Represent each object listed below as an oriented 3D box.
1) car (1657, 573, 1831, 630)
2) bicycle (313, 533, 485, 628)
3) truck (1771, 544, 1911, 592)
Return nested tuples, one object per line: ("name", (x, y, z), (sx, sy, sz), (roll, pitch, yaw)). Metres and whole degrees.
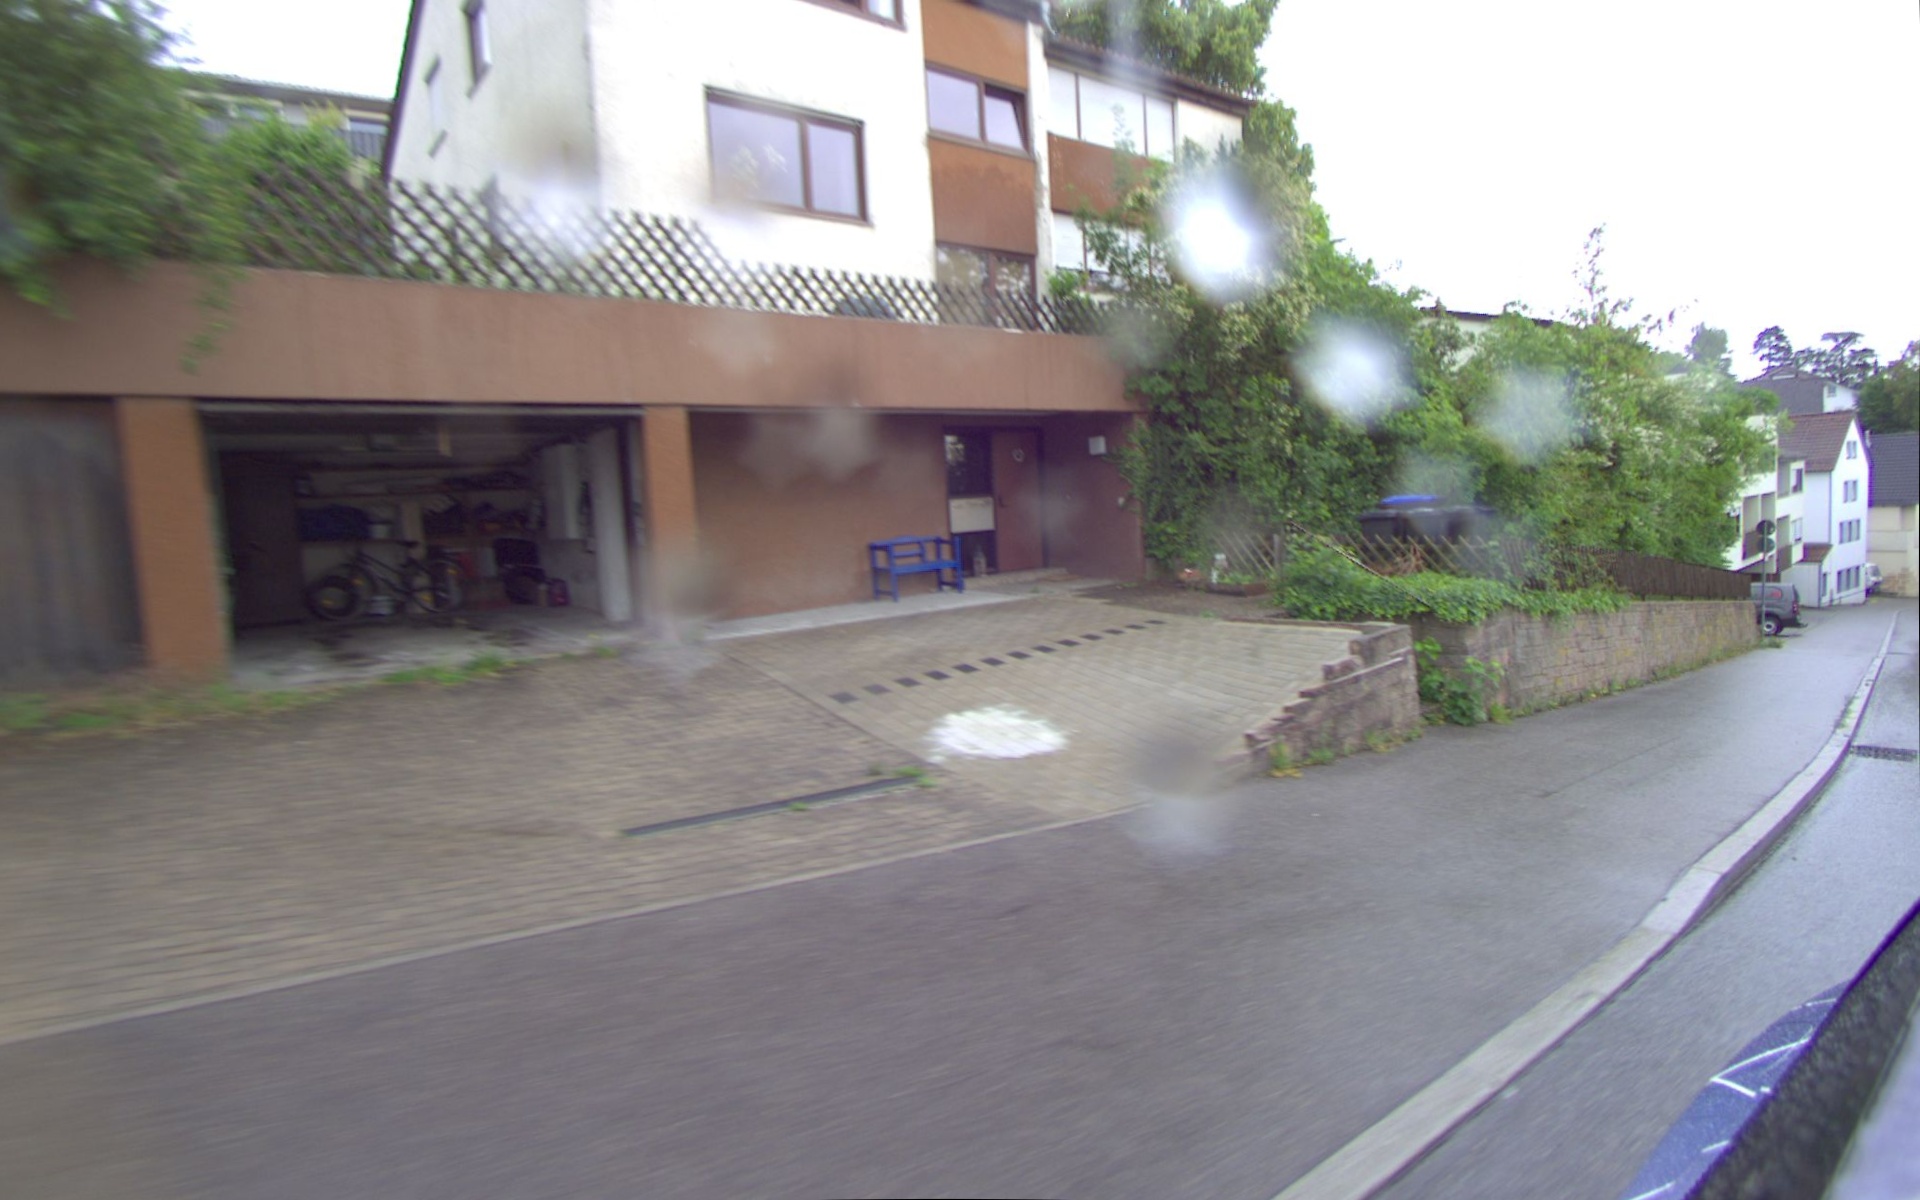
("car", (27.903, -0.005, 36.130), (4.709, 1.842, 1.968), (3, 2, 44))
("bicycle", (-6.945, -0.278, 12.580), (1.718, 1.015, 0.678), (-6, 8, -41))
("truck", (62.560, -2.359, 72.037), (2.098, 2.733, 6.995), (-1, 8, -31))
